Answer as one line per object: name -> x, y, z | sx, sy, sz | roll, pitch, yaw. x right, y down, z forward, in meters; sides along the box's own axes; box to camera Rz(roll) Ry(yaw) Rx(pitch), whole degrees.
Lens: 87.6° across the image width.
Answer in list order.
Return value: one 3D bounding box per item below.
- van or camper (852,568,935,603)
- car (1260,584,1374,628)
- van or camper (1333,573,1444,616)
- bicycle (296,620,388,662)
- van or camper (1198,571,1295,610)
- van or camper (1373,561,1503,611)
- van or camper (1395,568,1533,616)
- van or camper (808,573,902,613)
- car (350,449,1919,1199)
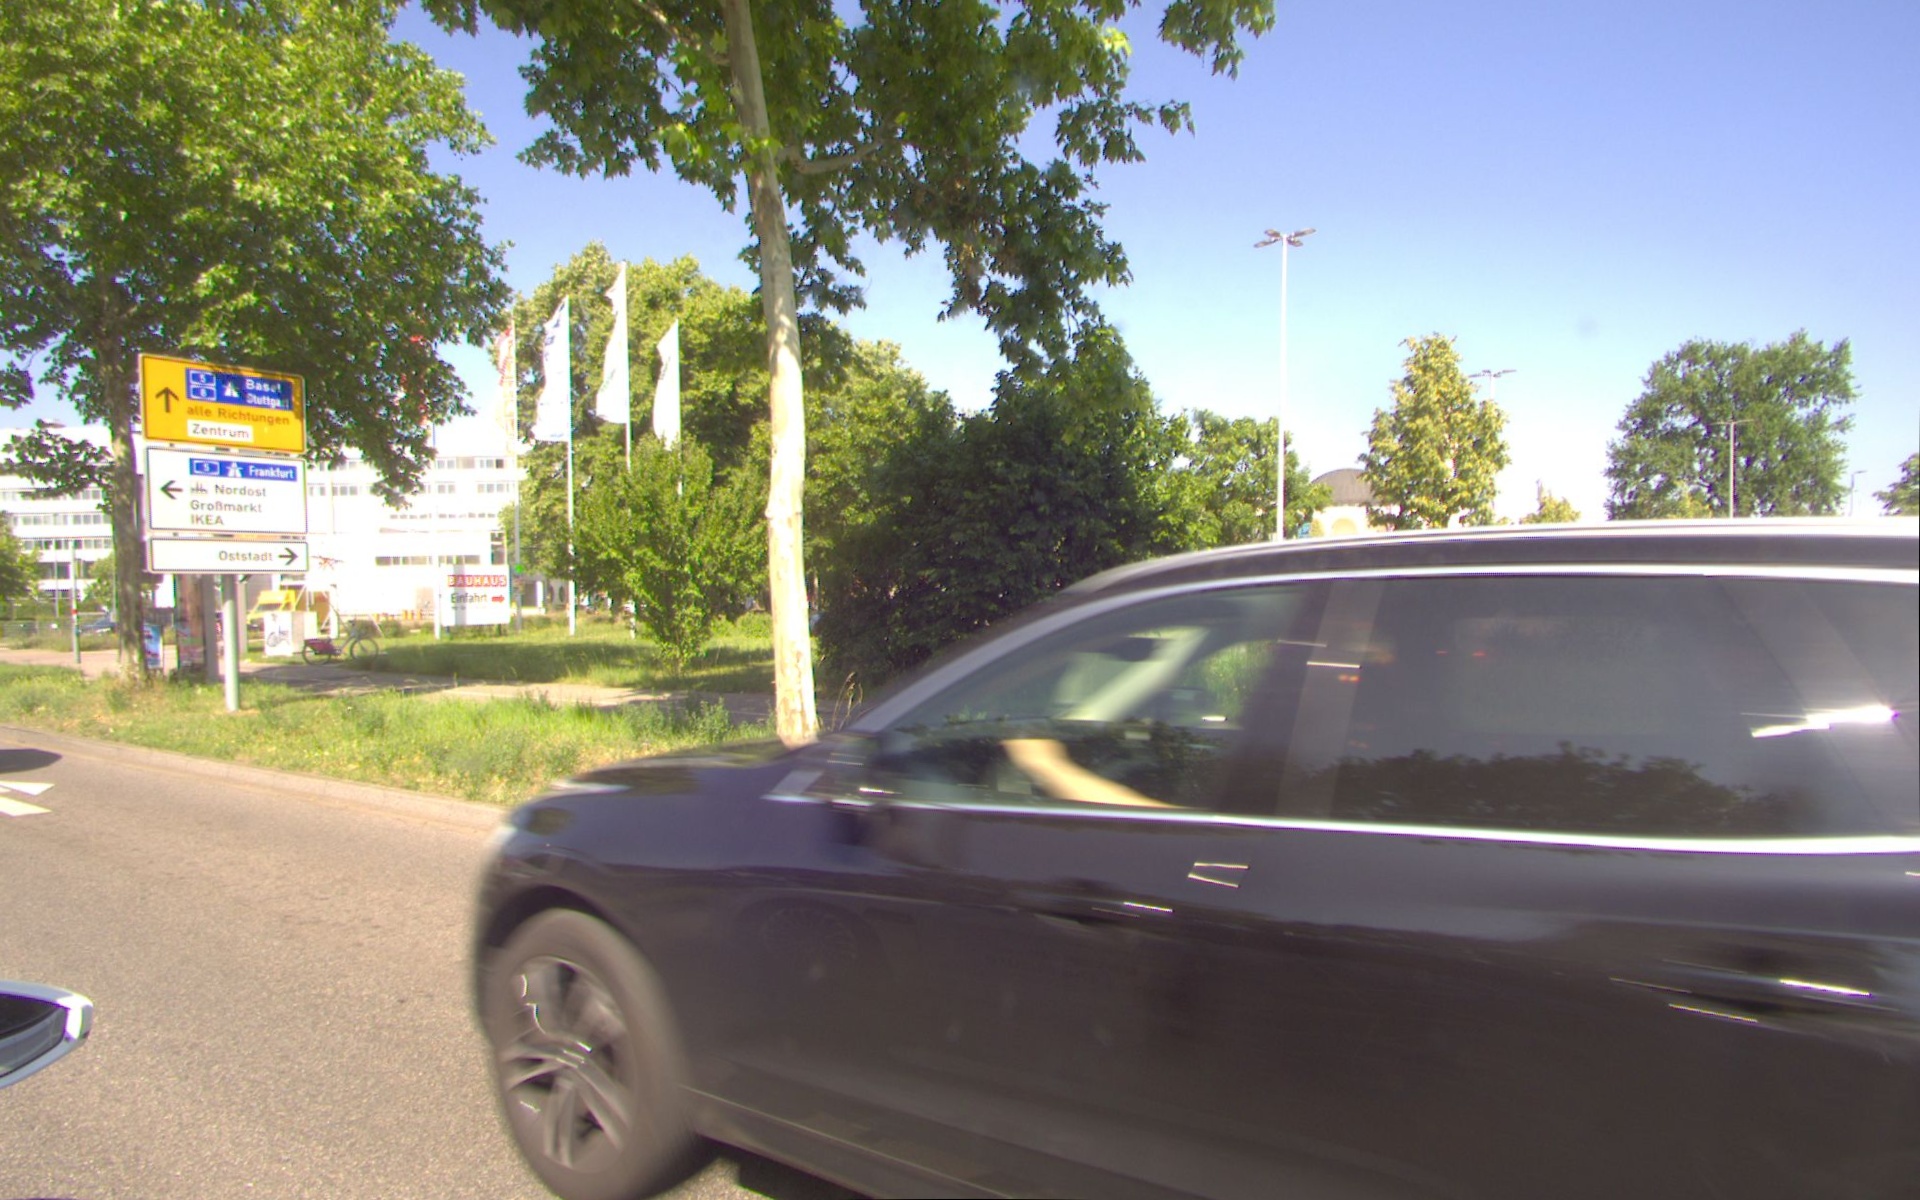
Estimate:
van or camper -> -5.805, -1.245, 87.486 | 7.145, 2.979, 2.001 | 0, -1, -2
car -> 13.159, 0.250, 37.061 | 3.580, 1.561, 1.753 | 0, -2, -3
van or camper -> 30.669, -0.361, 71.787 | 7.145, 2.979, 2.001 | 0, -1, -2
bicycle -> -16.336, 1.068, 26.488 | 1.985, 1.027, 0.615 | -1, 1, -41
van or camper -> 22.945, -0.751, 80.347 | 7.145, 2.979, 2.001 | 0, -1, -2
van or camper -> 29.684, -0.843, 62.305 | 7.145, 2.979, 2.001 | 0, -1, -2
van or camper -> 29.409, -0.449, 58.553 | 7.145, 2.739, 2.001 | 0, -1, -2
van or camper -> -8.151, -0.523, 78.372 | 7.145, 2.979, 2.001 | 0, -1, -2
car -> 0.603, 0.692, 2.468 | 4.371, 1.611, 1.872 | -1, -2, 32
